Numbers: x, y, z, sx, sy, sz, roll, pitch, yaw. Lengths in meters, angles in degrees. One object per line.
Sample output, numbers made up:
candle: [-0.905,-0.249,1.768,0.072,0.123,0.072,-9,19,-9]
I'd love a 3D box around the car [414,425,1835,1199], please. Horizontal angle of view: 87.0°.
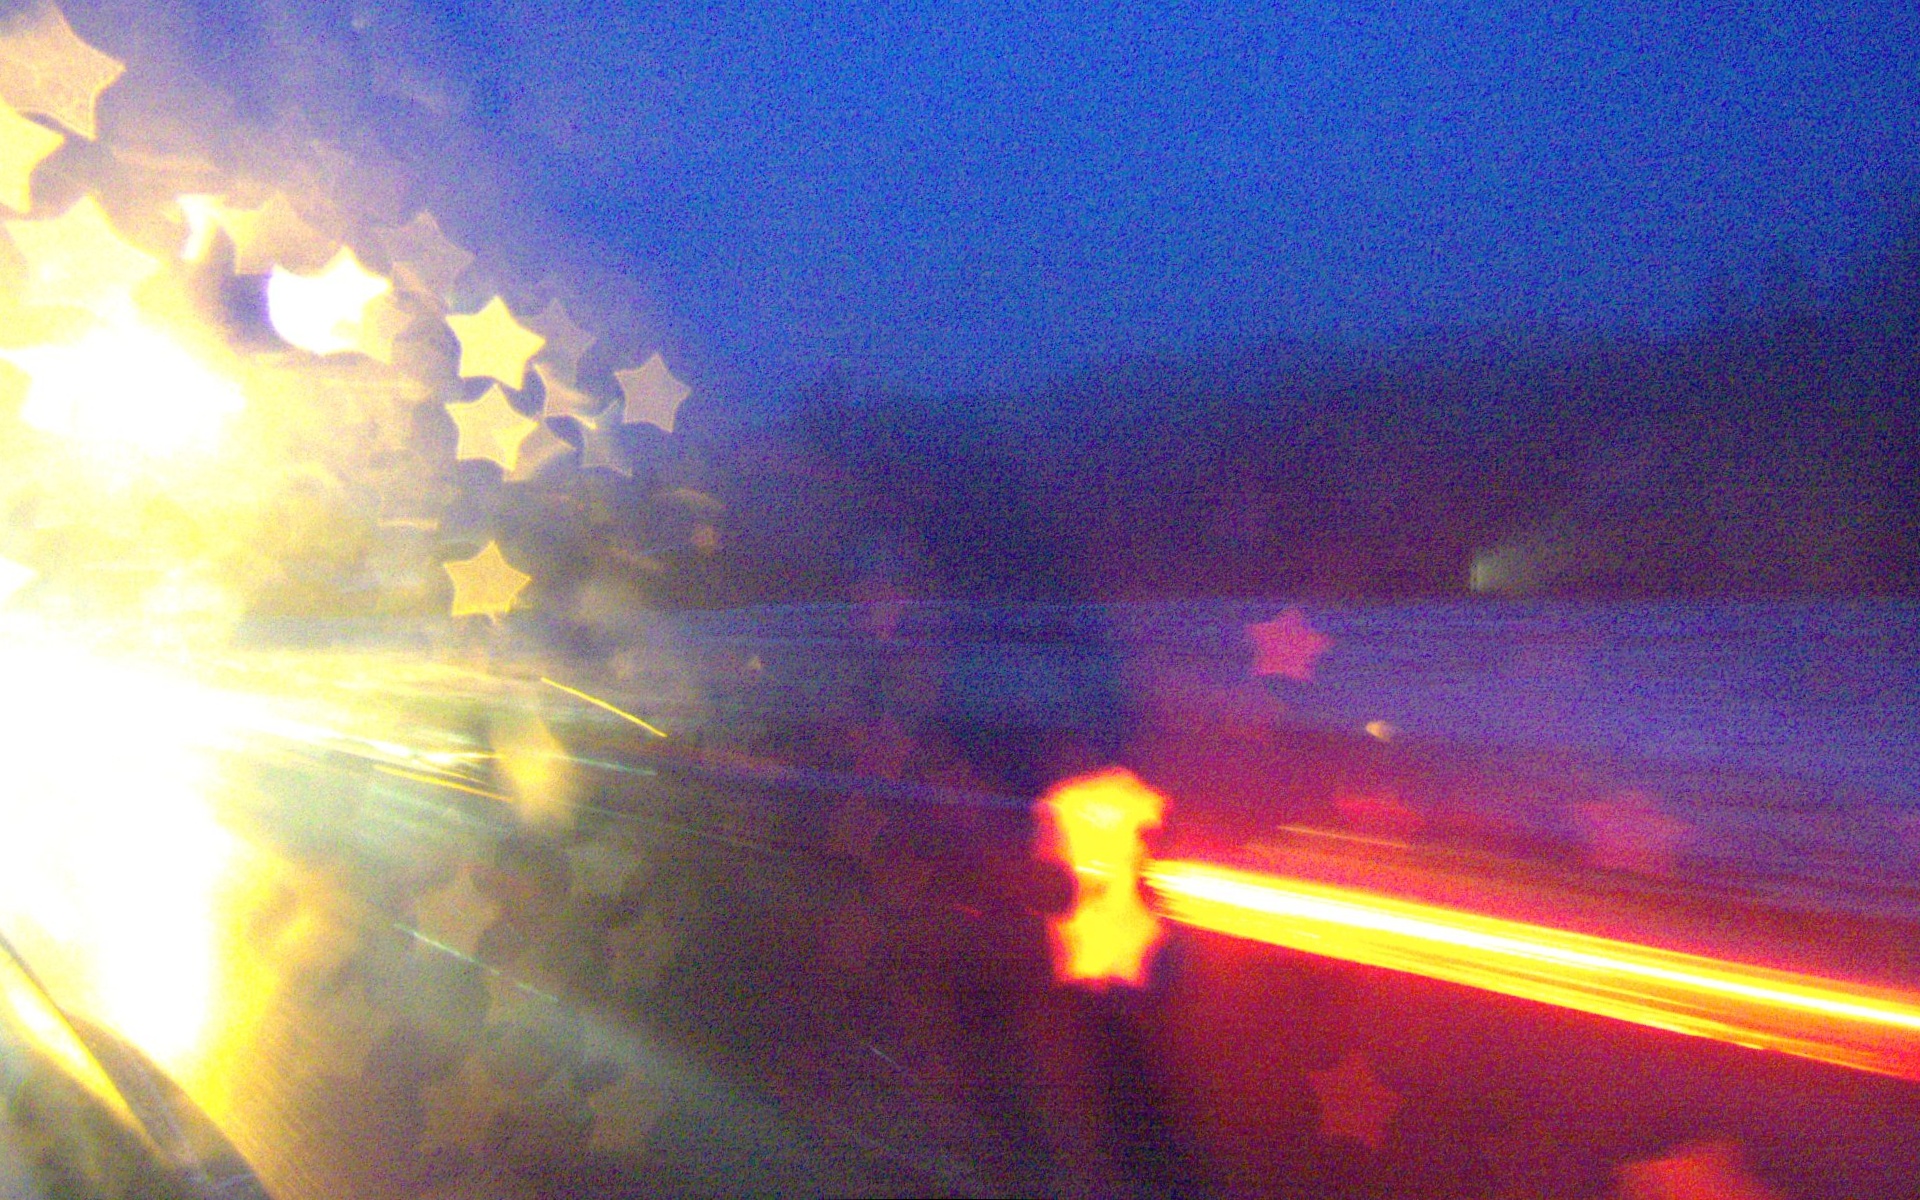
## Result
car: [0.082,0.520,3.350,4.200,1.486,1.895,-1,1,40]
